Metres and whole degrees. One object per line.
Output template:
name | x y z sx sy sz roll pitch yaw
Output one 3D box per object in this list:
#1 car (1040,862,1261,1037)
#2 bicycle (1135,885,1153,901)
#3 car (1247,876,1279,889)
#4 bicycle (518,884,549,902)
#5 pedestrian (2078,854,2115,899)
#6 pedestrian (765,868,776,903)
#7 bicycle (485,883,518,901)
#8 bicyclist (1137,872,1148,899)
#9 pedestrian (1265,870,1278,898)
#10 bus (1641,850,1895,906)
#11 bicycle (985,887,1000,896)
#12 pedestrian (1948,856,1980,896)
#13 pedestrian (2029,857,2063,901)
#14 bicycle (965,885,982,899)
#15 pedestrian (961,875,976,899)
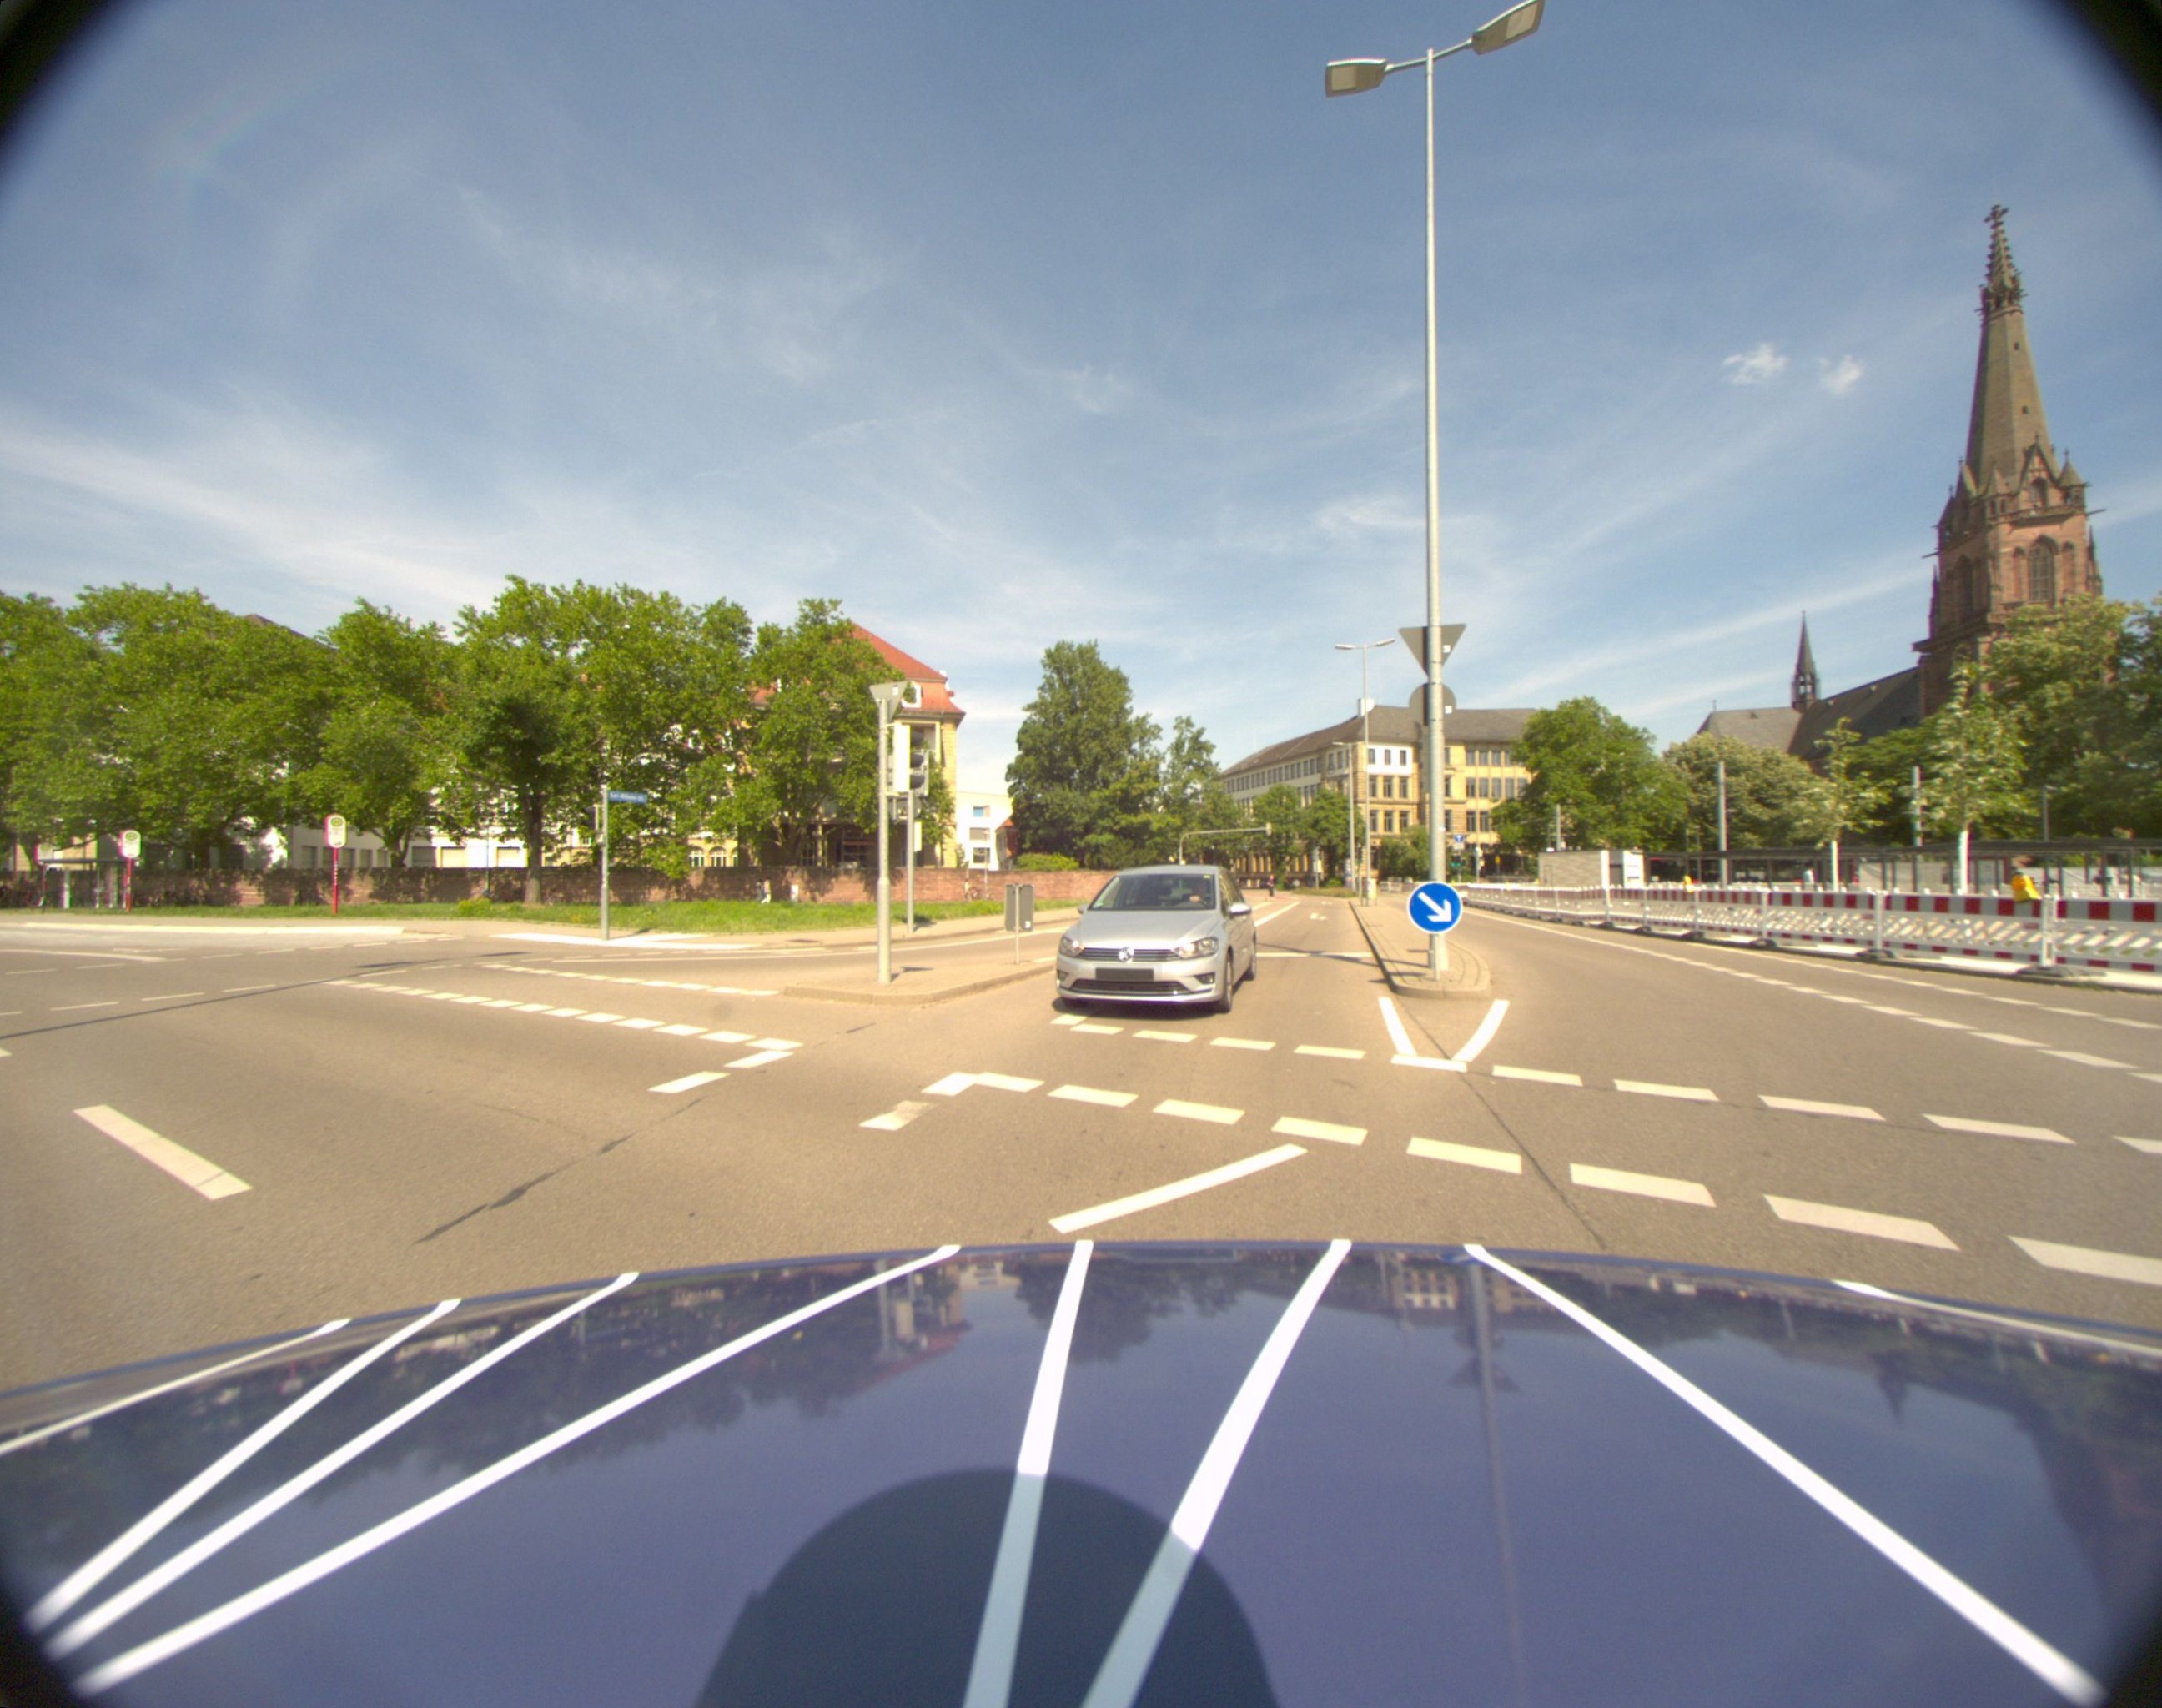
car | 1.071 0.919 9.070 1.685 1.576 4.159 0 -2 19
bicycle | 3.892 2.380 46.686 0.684 0.882 1.935 0 -1 17
car | 26.050 4.057 108.785 4.002 1.652 1.997 -2 1 -17
bicycle | -32.093 2.292 44.546 1.448 1.027 0.448 0 -1 -8
pedestrian | 45.850 1.000 34.305 0.821 2.001 0.686 0 -1 -12
pedestrian | -18.407 1.856 45.019 0.597 2.001 0.522 0 -1 -23
bicycle | -33.831 2.195 44.365 1.448 1.027 0.448 0 -1 -8
bicyclist | 3.783 1.925 46.855 0.487 1.627 1.086 0 -1 15
pedestrian | 13.826 2.178 55.096 0.794 2.001 0.616 0 -1 3
bus | 44.132 1.662 49.813 3.135 3.074 12.400 -2 -2 -17
bicycle | -5.952 2.533 51.067 0.949 0.598 0.274 1 -1 -34
pedestrian | 44.101 1.095 37.969 0.687 2.001 0.819 0 -1 -17
pedestrian | 44.781 1.159 35.260 0.821 2.001 0.686 0 -1 -12
bicycle | -7.112 2.505 50.285 0.393 0.877 1.231 -1 -1 38
pedestrian | -7.300 2.111 49.228 0.914 1.538 0.502 0 -1 -18
